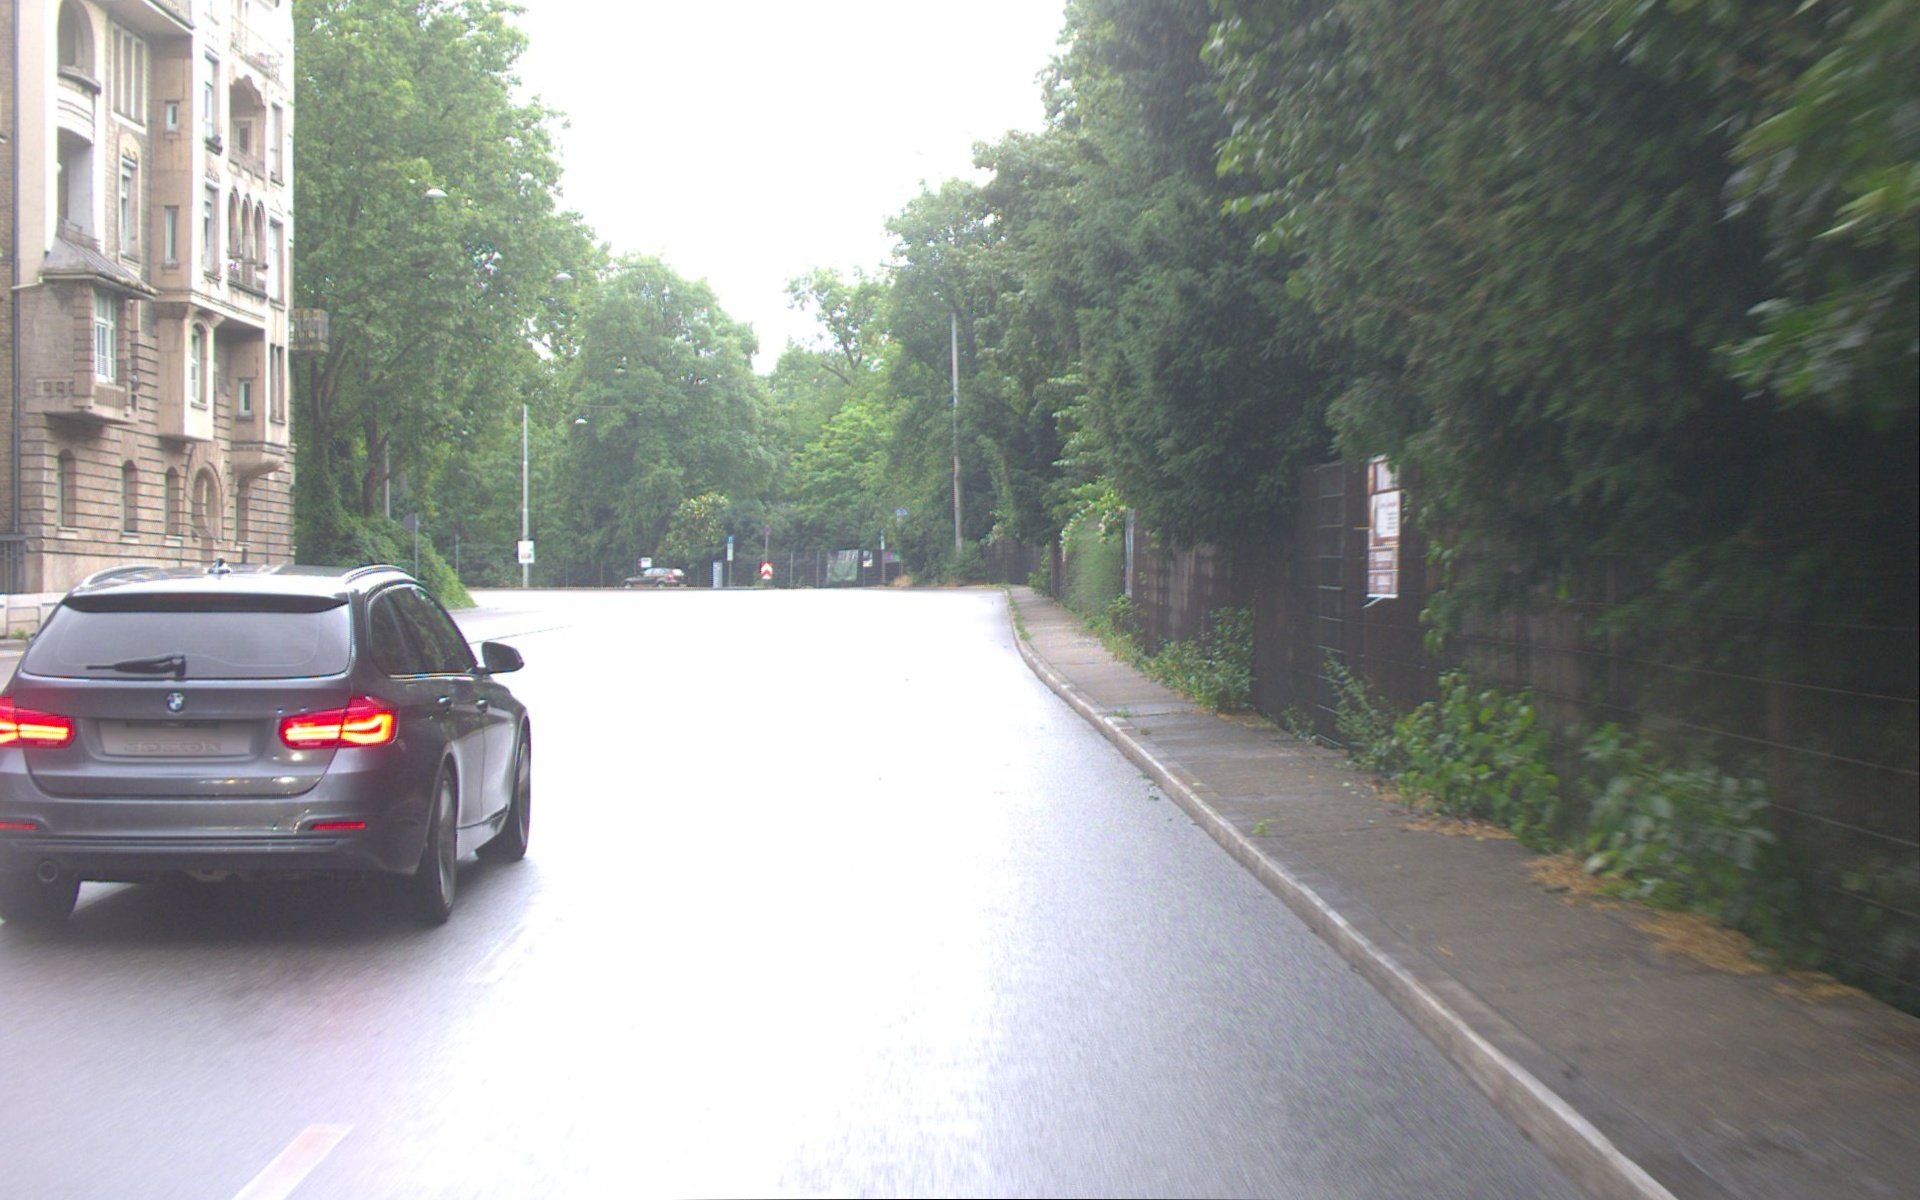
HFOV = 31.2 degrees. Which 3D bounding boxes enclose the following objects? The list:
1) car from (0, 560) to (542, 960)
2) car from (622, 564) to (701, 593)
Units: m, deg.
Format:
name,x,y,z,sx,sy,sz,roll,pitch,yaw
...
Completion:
name,x,y,z,sx,sy,sz,roll,pitch,yaw
car,-2.950,0.567,14.883,1.757,1.427,4.413,2,1,-1
car,-15.893,-1.147,183.130,4.368,1.422,1.688,0,-2,44
